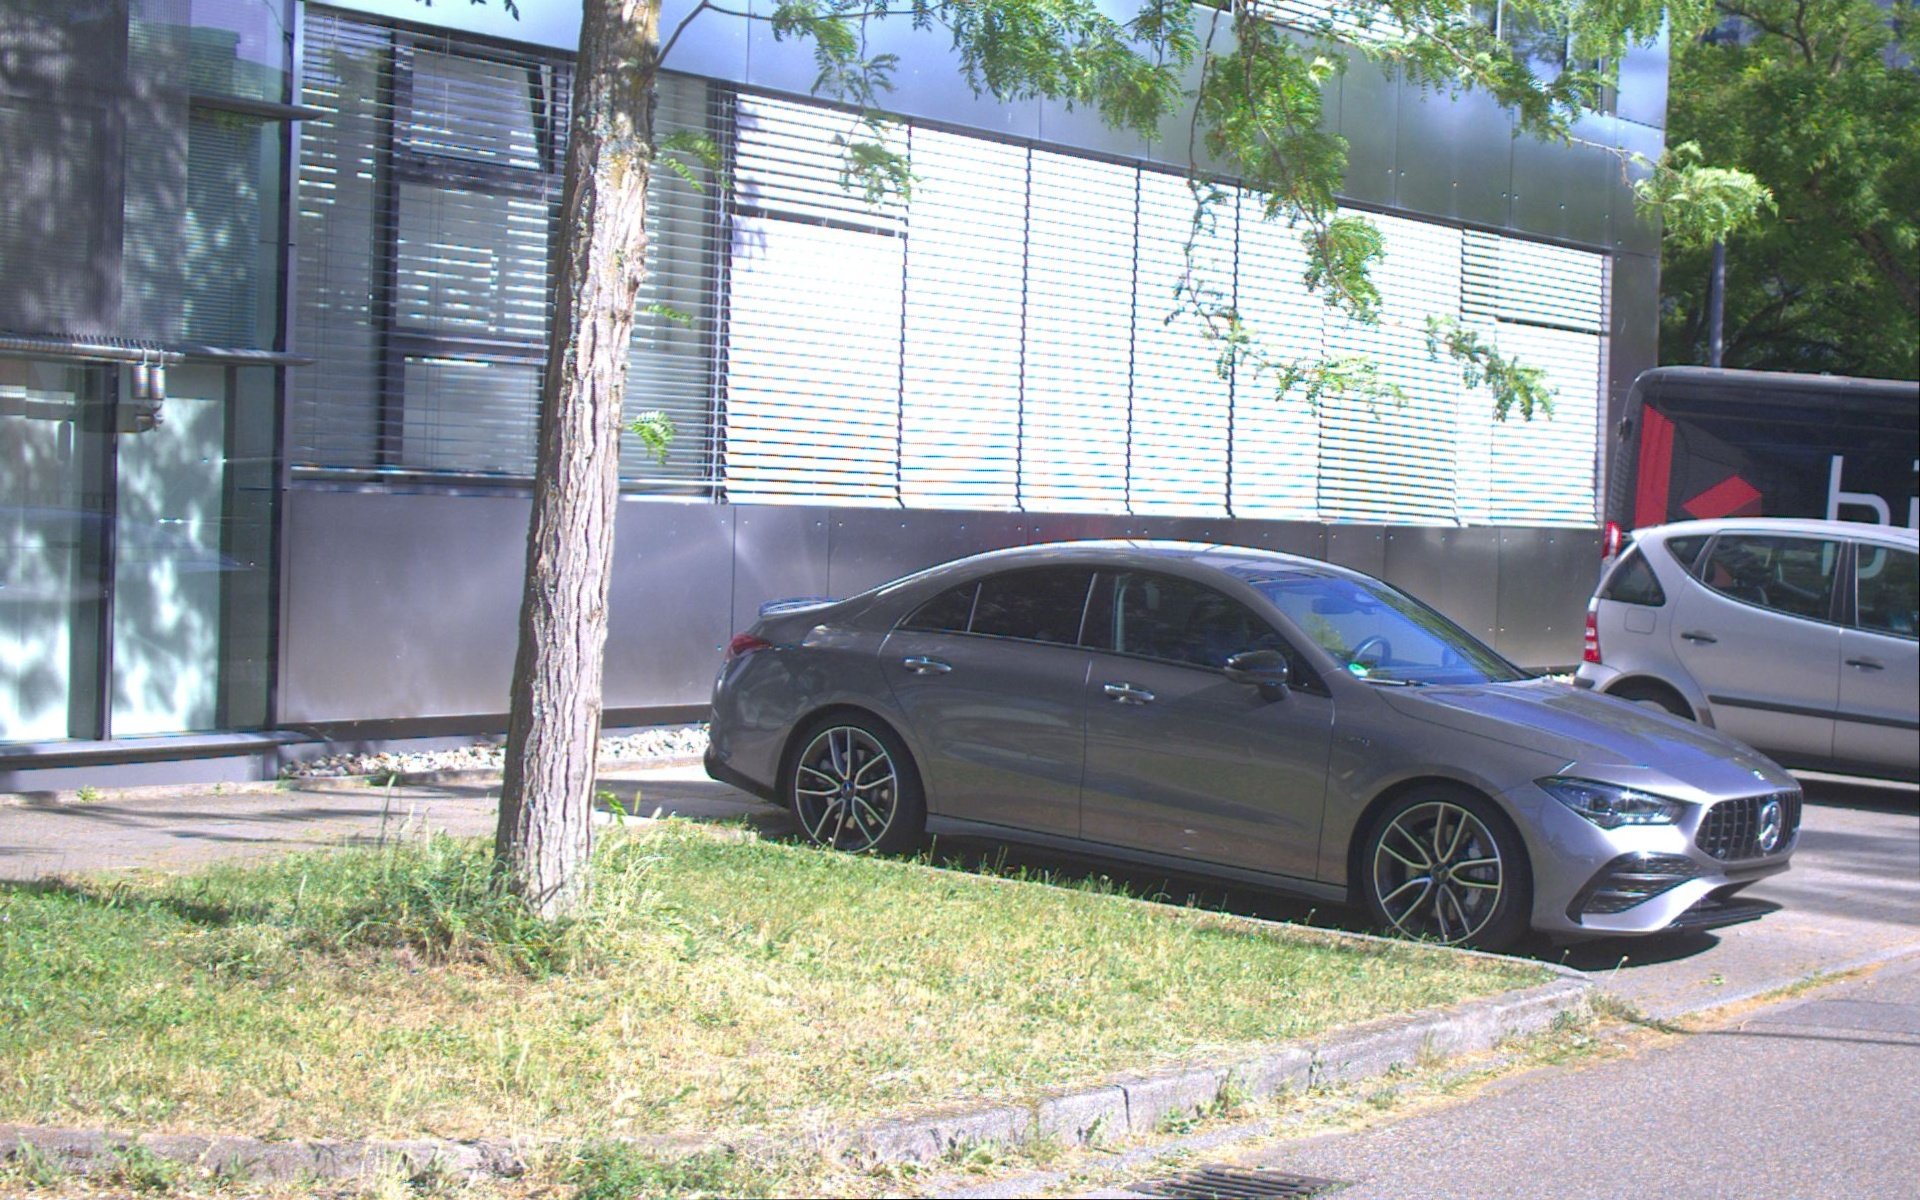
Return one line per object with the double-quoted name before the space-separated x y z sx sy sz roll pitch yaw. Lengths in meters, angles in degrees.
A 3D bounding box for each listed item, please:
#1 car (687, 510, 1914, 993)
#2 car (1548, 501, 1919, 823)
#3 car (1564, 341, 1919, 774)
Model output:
"car" 1.285 0.492 13.981 4.545 1.345 1.888 6 4 35
"car" 5.643 0.391 20.027 3.839 1.639 1.888 6 3 34
"car" 6.985 -0.189 22.226 5.466 2.613 2.227 6 3 35
